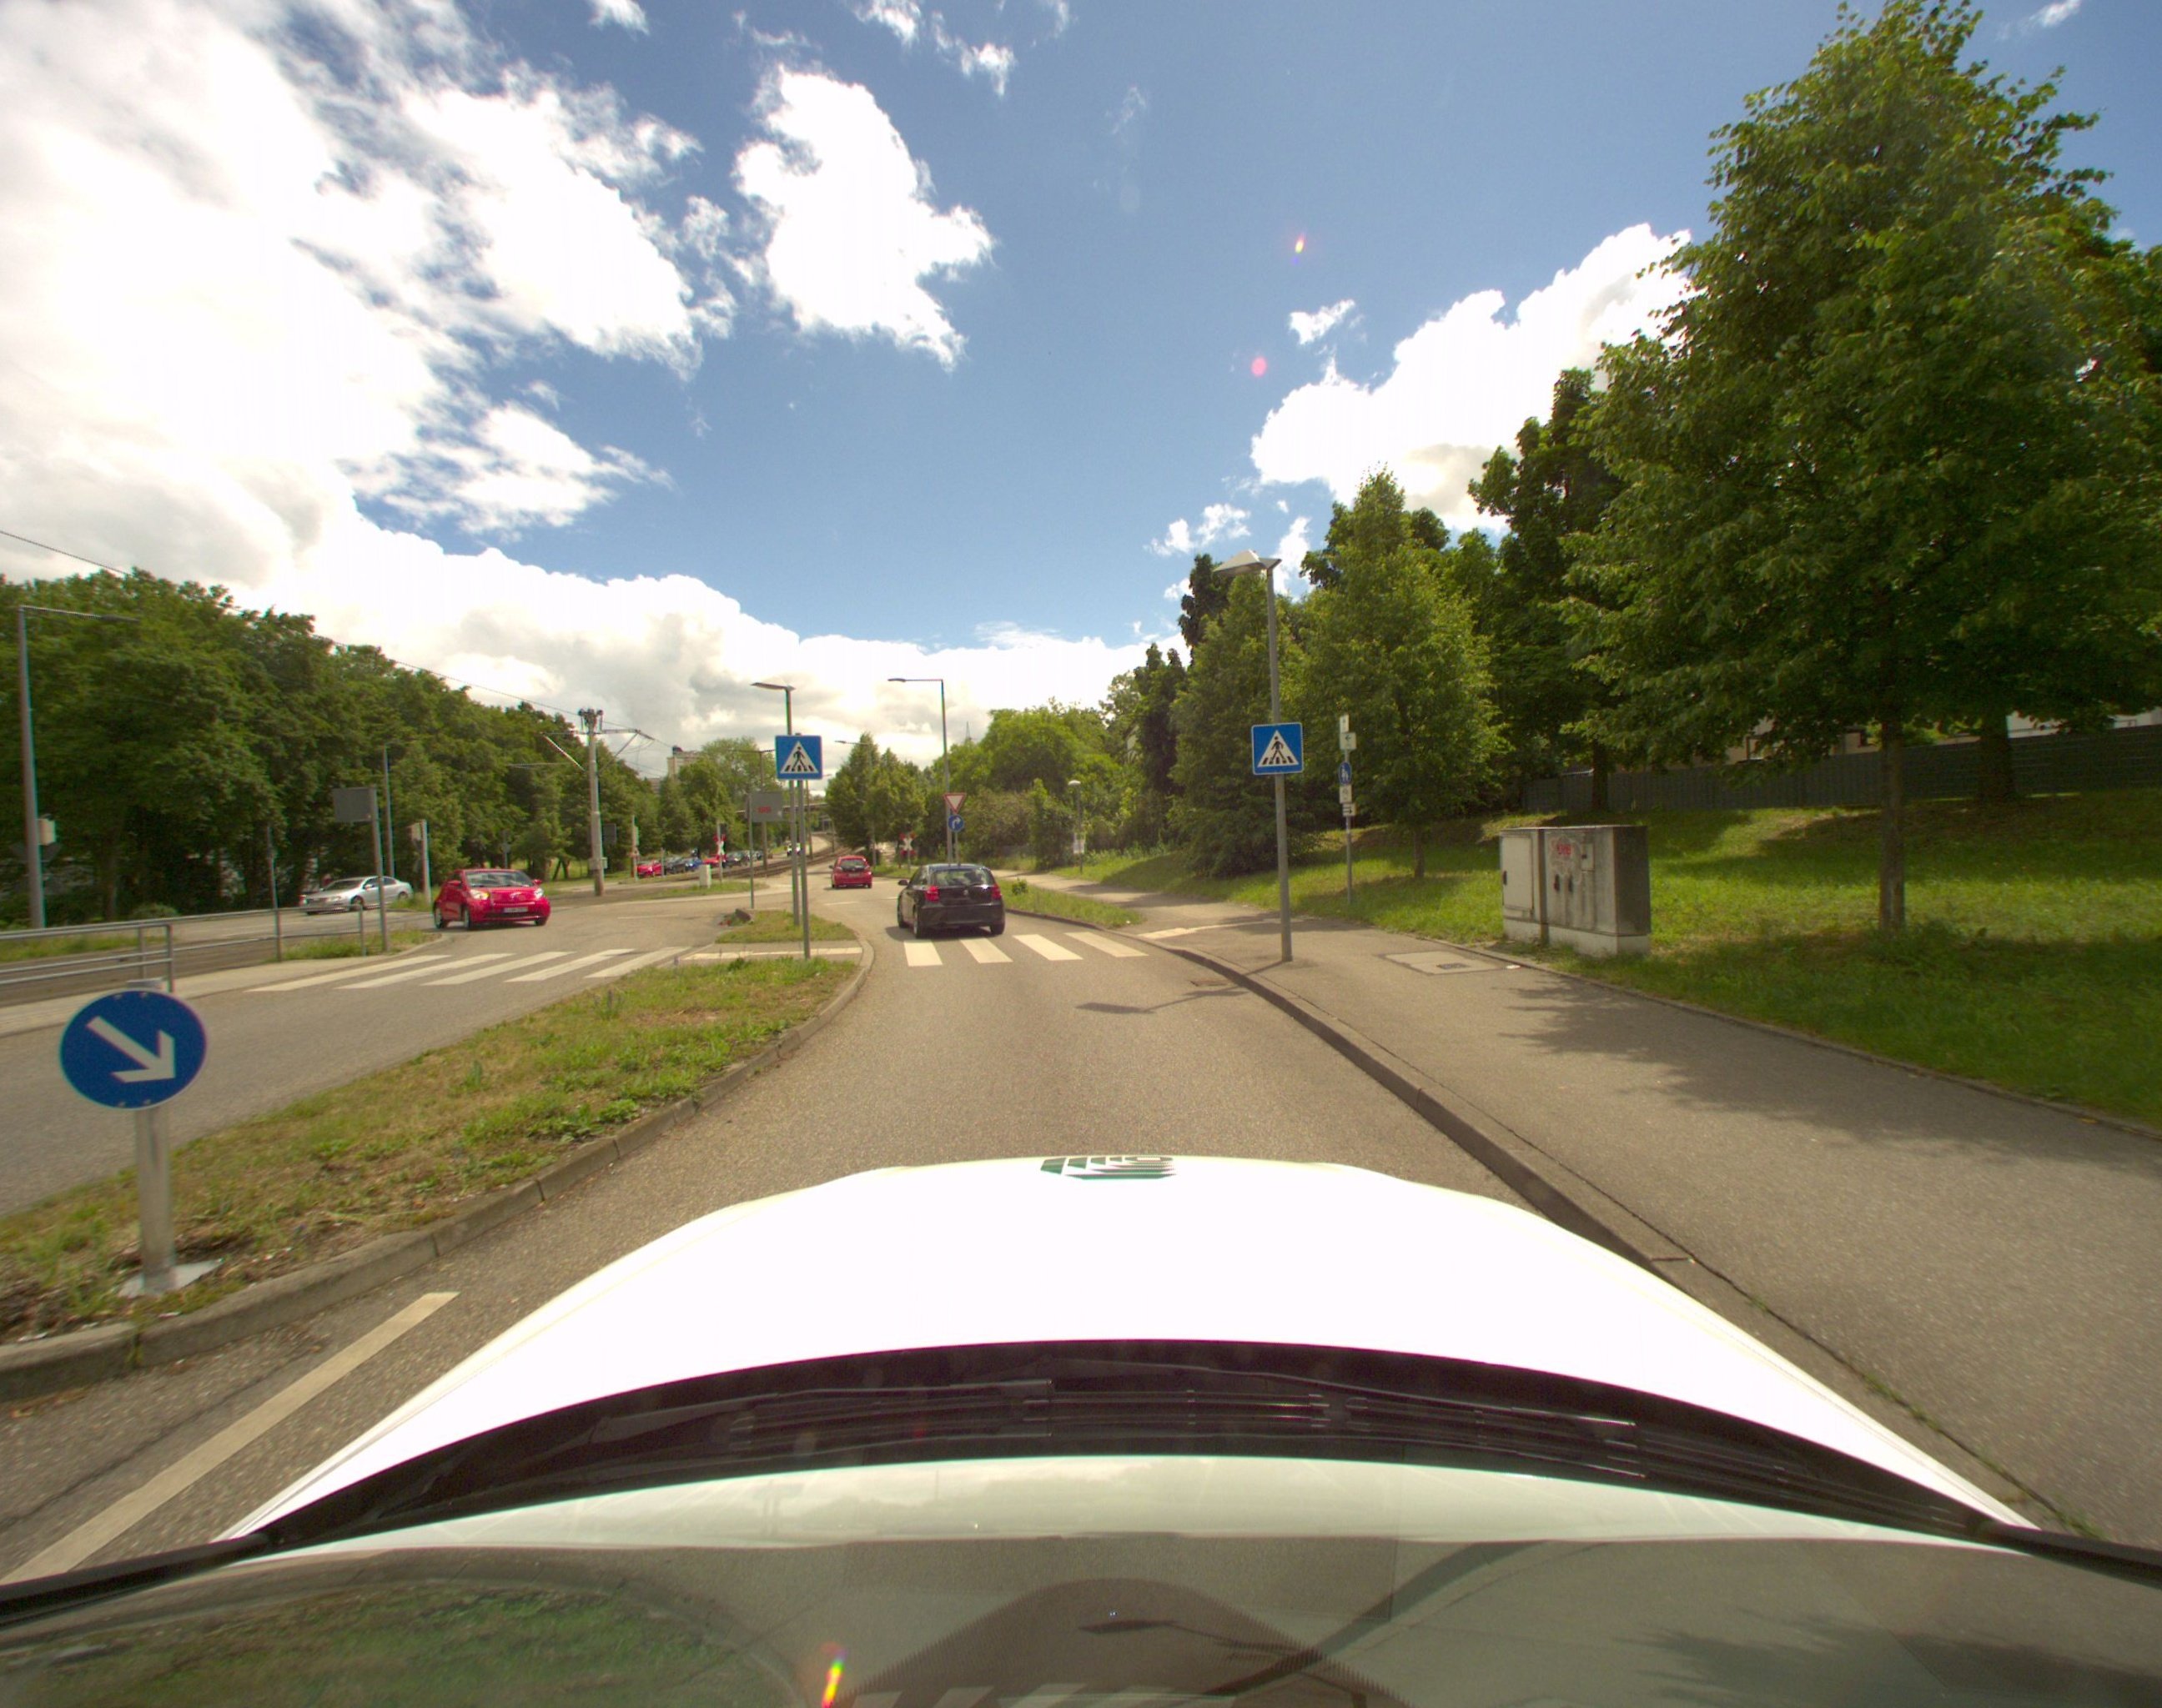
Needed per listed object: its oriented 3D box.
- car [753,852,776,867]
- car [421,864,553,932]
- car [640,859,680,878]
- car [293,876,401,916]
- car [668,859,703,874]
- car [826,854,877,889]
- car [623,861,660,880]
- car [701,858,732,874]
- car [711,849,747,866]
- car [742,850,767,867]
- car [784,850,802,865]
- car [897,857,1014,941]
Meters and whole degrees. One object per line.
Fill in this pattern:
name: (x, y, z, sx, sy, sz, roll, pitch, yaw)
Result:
car: (-43.929, 0.746, 113.110, 1.992, 1.862, 3.990, -2, 1, -8)
car: (-14.895, 1.060, 20.414, 2.928, 1.503, 1.736, -2, 1, 34)
car: (-36.842, 1.247, 71.393, 1.877, 1.425, 3.525, -3, 1, -5)
car: (-31.016, 1.727, 34.568, 1.881, 1.350, 3.809, -3, 1, -17)
car: (-37.179, 1.174, 76.658, 1.805, 1.254, 3.559, -2, 2, -8)
car: (-10.542, 0.781, 37.281, 1.773, 1.432, 3.452, -3, 0, -22)
car: (-35.558, 1.333, 65.936, 1.529, 1.370, 3.584, -3, 1, -11)
car: (-38.827, 1.275, 86.875, 1.912, 1.561, 3.989, -2, 1, -8)
car: (-35.769, 0.295, 82.835, 1.991, 1.597, 4.410, -3, 1, -6)
car: (-43.322, 0.583, 108.142, 1.991, 2.013, 3.992, -2, 1, -6)
car: (-42.883, 0.480, 121.439, 1.996, 2.013, 3.982, -3, 1, -14)
car: (-2.722, 0.863, 16.884, 1.820, 1.421, 3.977, -3, -1, -17)
